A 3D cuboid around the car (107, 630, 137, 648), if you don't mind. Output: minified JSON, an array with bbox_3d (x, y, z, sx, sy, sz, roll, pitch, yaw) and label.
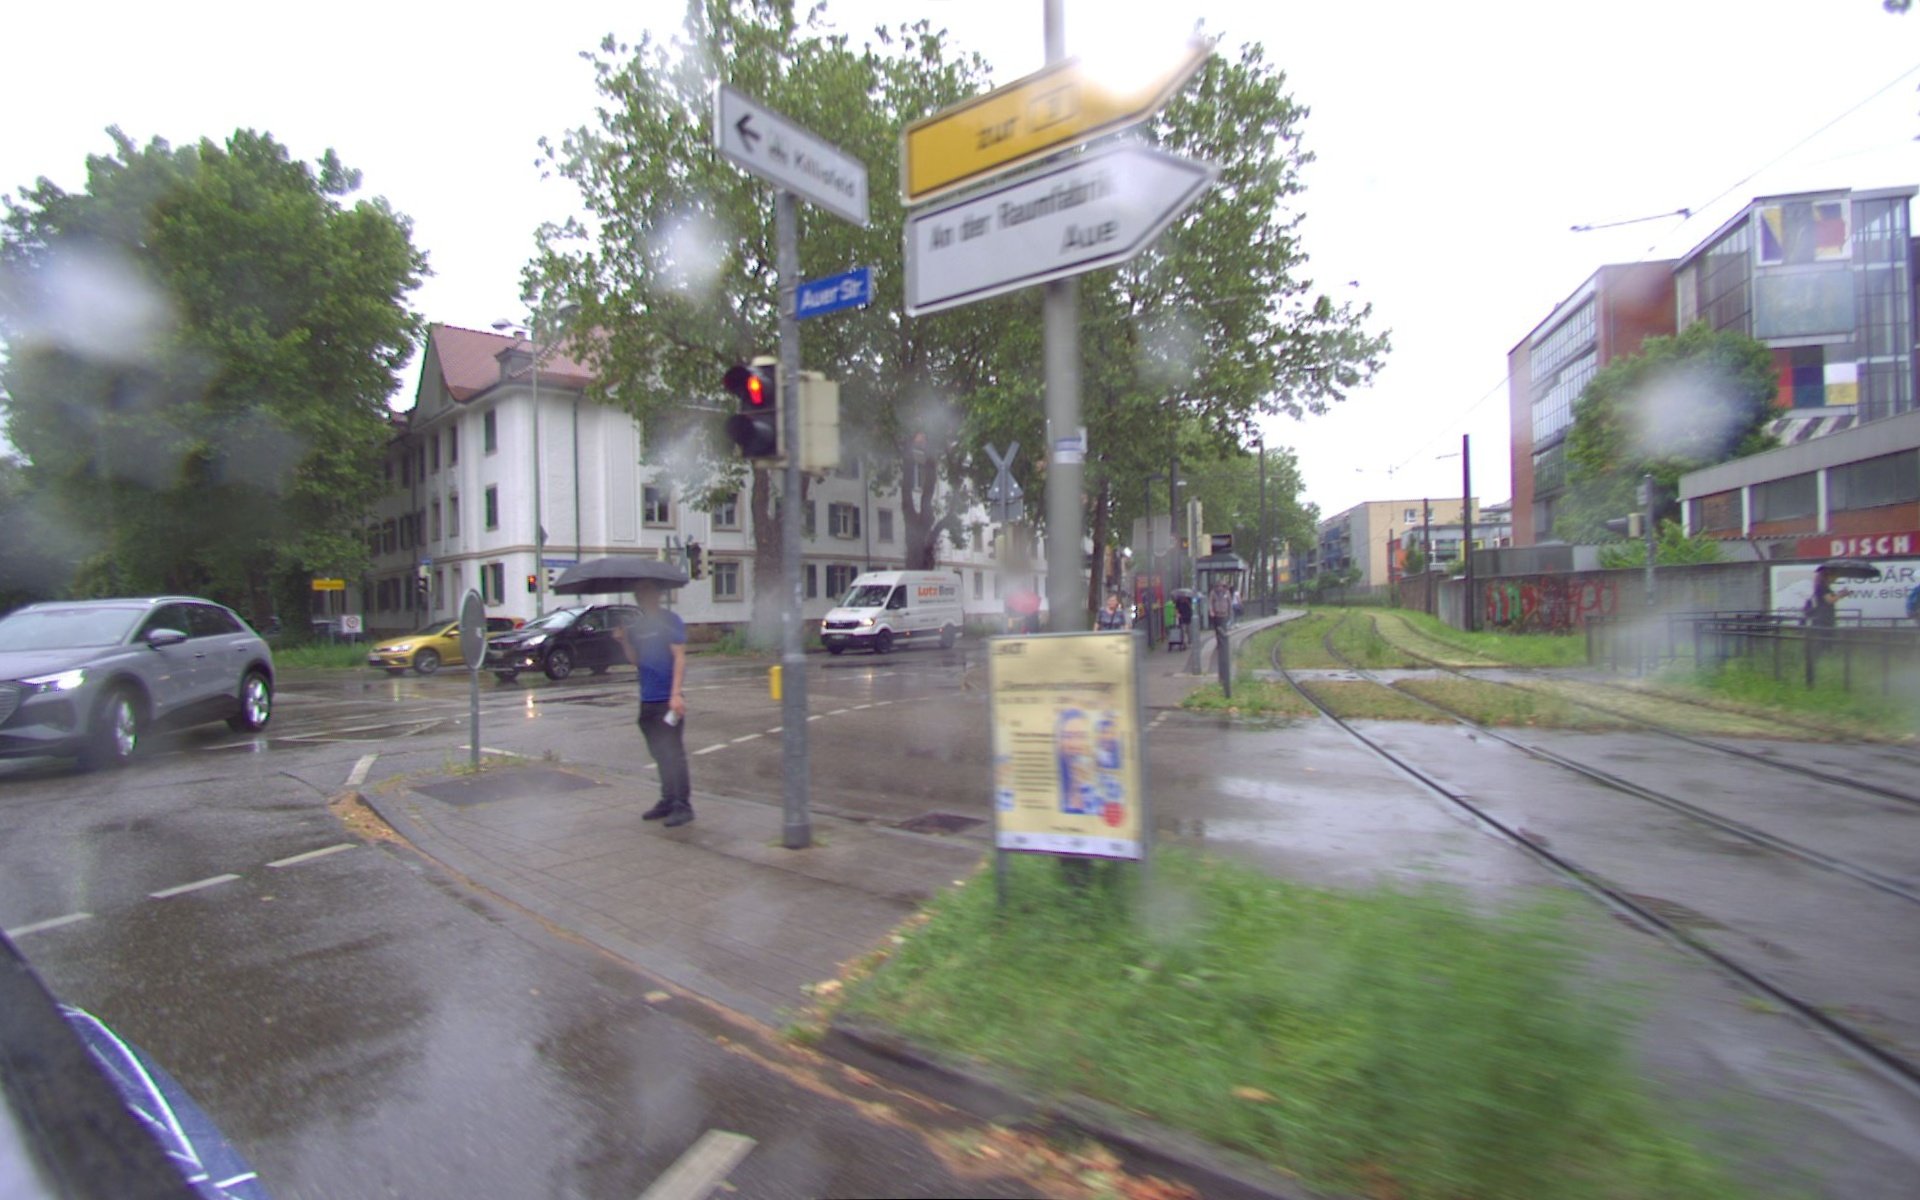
[{"bbox_3d":[-88.607,4.104,106.975,4.001,1.820,1.971,-2,-1,44],"label":"car"}]

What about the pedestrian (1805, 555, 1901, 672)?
[{"bbox_3d":[14.827,0.236,16.842,0.843,1.876,0.949,-2,-2,20],"label":"pedestrian"}]

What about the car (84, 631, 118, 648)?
[{"bbox_3d":[-92.625,4.267,109.107,3.688,1.635,1.976,-2,-1,36],"label":"car"}]

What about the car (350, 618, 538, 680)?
[{"bbox_3d":[-13.540,1.240,26.738,1.995,1.378,3.953,-2,0,35],"label":"car"}]

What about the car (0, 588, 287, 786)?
[{"bbox_3d":[-8.911,0.800,10.431,1.781,1.633,4.147,-4,0,-11],"label":"car"}]

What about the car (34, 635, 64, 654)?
[{"bbox_3d":[-92.400,4.492,102.603,4.352,1.820,1.971,-2,-1,45],"label":"car"}]

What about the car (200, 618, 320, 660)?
[{"bbox_3d":[-33.886,1.870,49.074,4.600,1.888,2.036,0,-2,-42],"label":"car"}]

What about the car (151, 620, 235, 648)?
[{"bbox_3d":[-58.704,2.586,77.499,5.011,2.039,2.036,0,-2,-42],"label":"car"}]

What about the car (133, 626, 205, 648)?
[{"bbox_3d":[-64.787,3.016,82.933,4.600,1.617,2.036,0,-2,-42],"label":"car"}]

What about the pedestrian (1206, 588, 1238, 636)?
[{"bbox_3d":[10.161,0.461,39.264,0.846,1.839,0.851,-1,-1,-9],"label":"pedestrian"}]

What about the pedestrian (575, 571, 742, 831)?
[{"bbox_3d":[-1.996,0.630,6.748,0.640,1.593,0.854,-2,-2,31],"label":"pedestrian"}]

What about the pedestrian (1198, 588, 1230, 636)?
[{"bbox_3d":[9.635,0.447,38.388,0.849,1.800,0.848,-3,-2,45],"label":"pedestrian"}]

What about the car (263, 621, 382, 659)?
[{"bbox_3d":[-26.996,1.666,42.901,1.798,1.364,3.942,-3,0,44],"label":"car"}]

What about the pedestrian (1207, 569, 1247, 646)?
[{"bbox_3d":[6.598,0.193,24.978,0.853,1.846,0.844,-2,-2,19],"label":"pedestrian"}]

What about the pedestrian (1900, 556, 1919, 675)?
[{"bbox_3d":[15.548,0.235,15.841,0.843,1.876,0.949,-2,-2,20],"label":"pedestrian"}]

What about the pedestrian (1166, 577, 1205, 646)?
[{"bbox_3d":[5.737,0.293,25.699,0.853,1.701,0.844,-2,-2,19],"label":"pedestrian"}]

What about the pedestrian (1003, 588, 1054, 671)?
[{"bbox_3d":[1.447,0.622,21.449,0.843,1.701,0.854,-2,-2,20],"label":"pedestrian"}]

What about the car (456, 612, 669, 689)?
[{"bbox_3d":[-8.334,1.013,21.547,1.847,1.455,3.959,-2,-1,30],"label":"car"}]

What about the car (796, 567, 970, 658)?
[{"bbox_3d":[-2.252,0.353,32.000,2.274,2.581,6.447,-2,0,29],"label":"car"}]

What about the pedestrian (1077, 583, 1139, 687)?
[{"bbox_3d":[2.506,0.582,17.092,0.853,1.701,0.844,-2,-2,19],"label":"pedestrian"}]
